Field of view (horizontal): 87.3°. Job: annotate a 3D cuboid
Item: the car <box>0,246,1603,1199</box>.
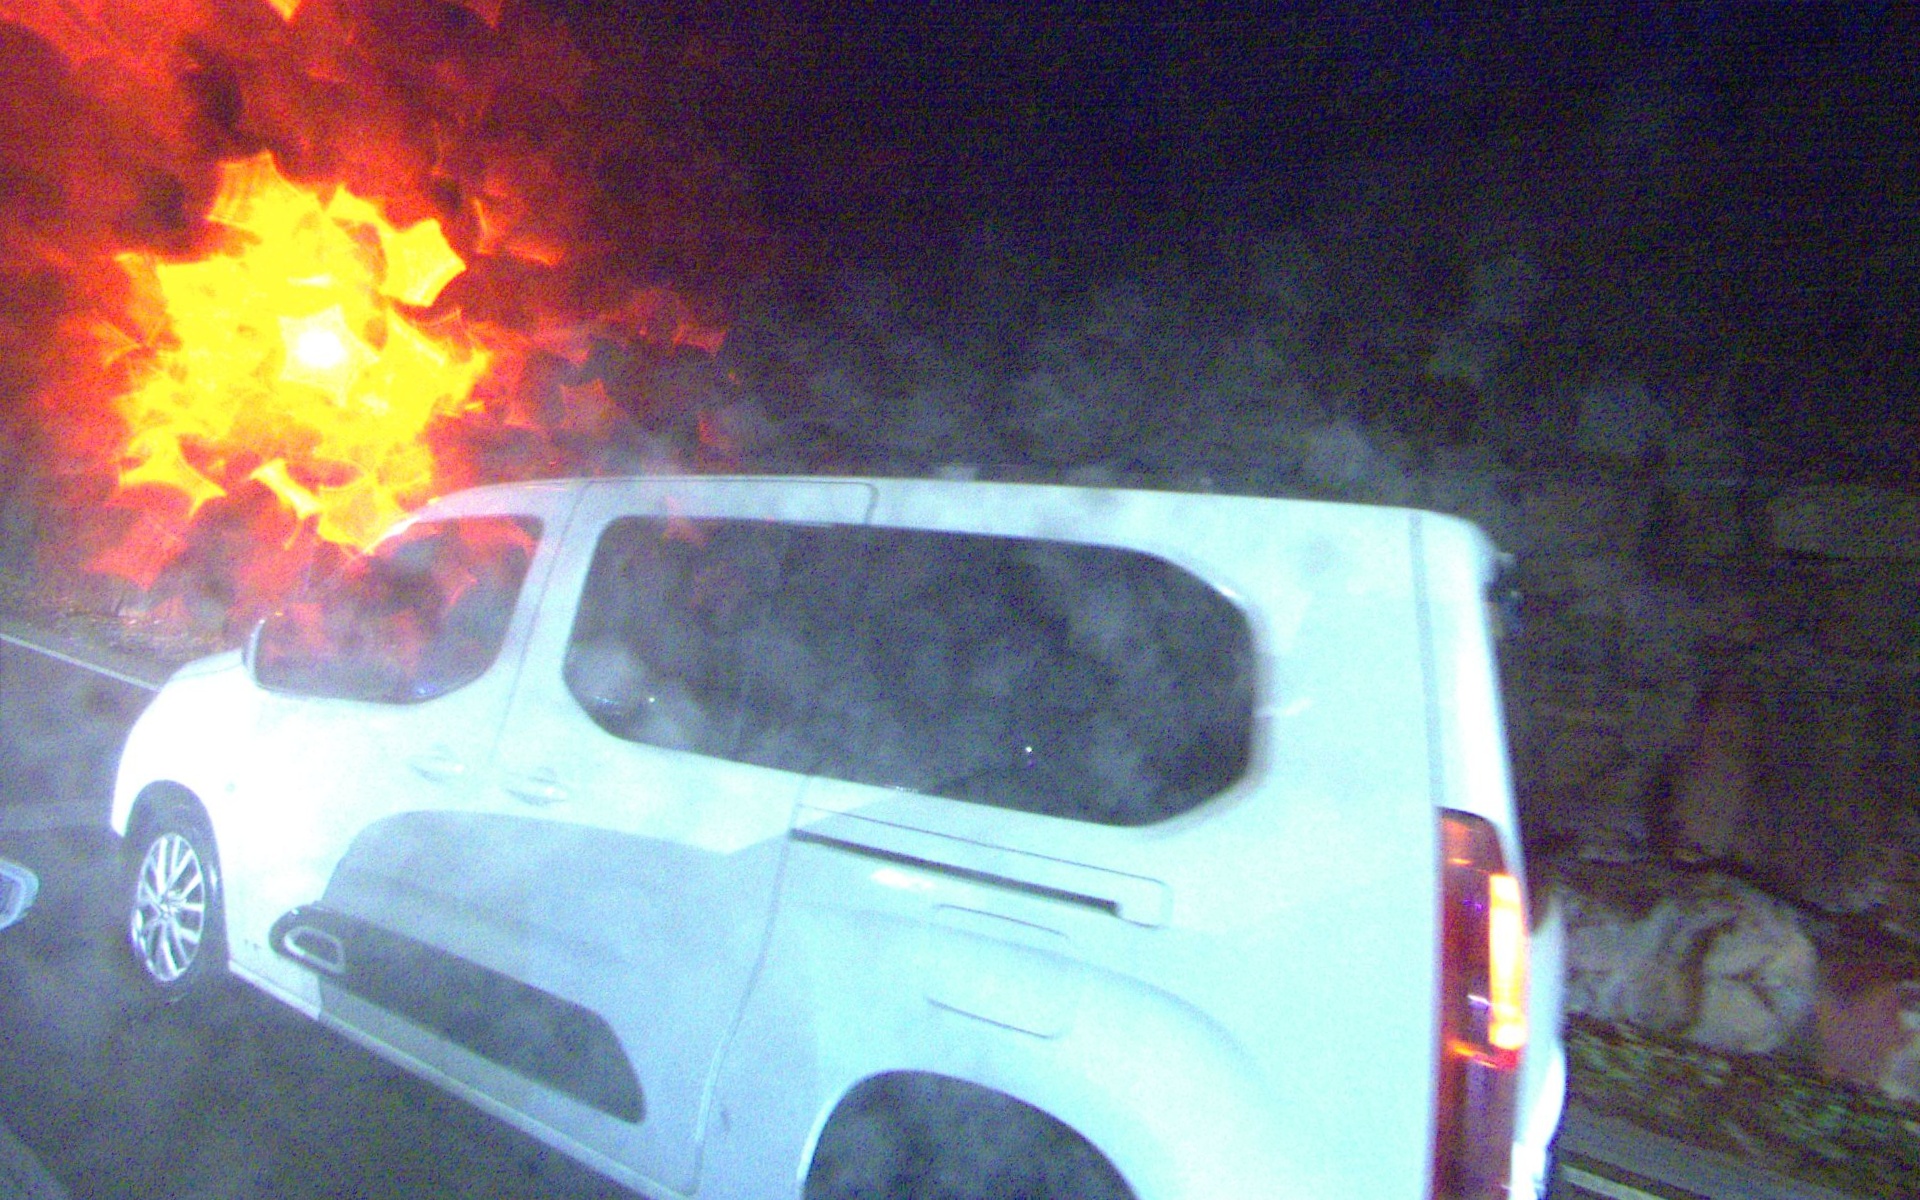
[{"bbox_3d":[-0.839,0.430,3.148,4.501,2.045,1.795,7,-1,30],"label":"car"}]
